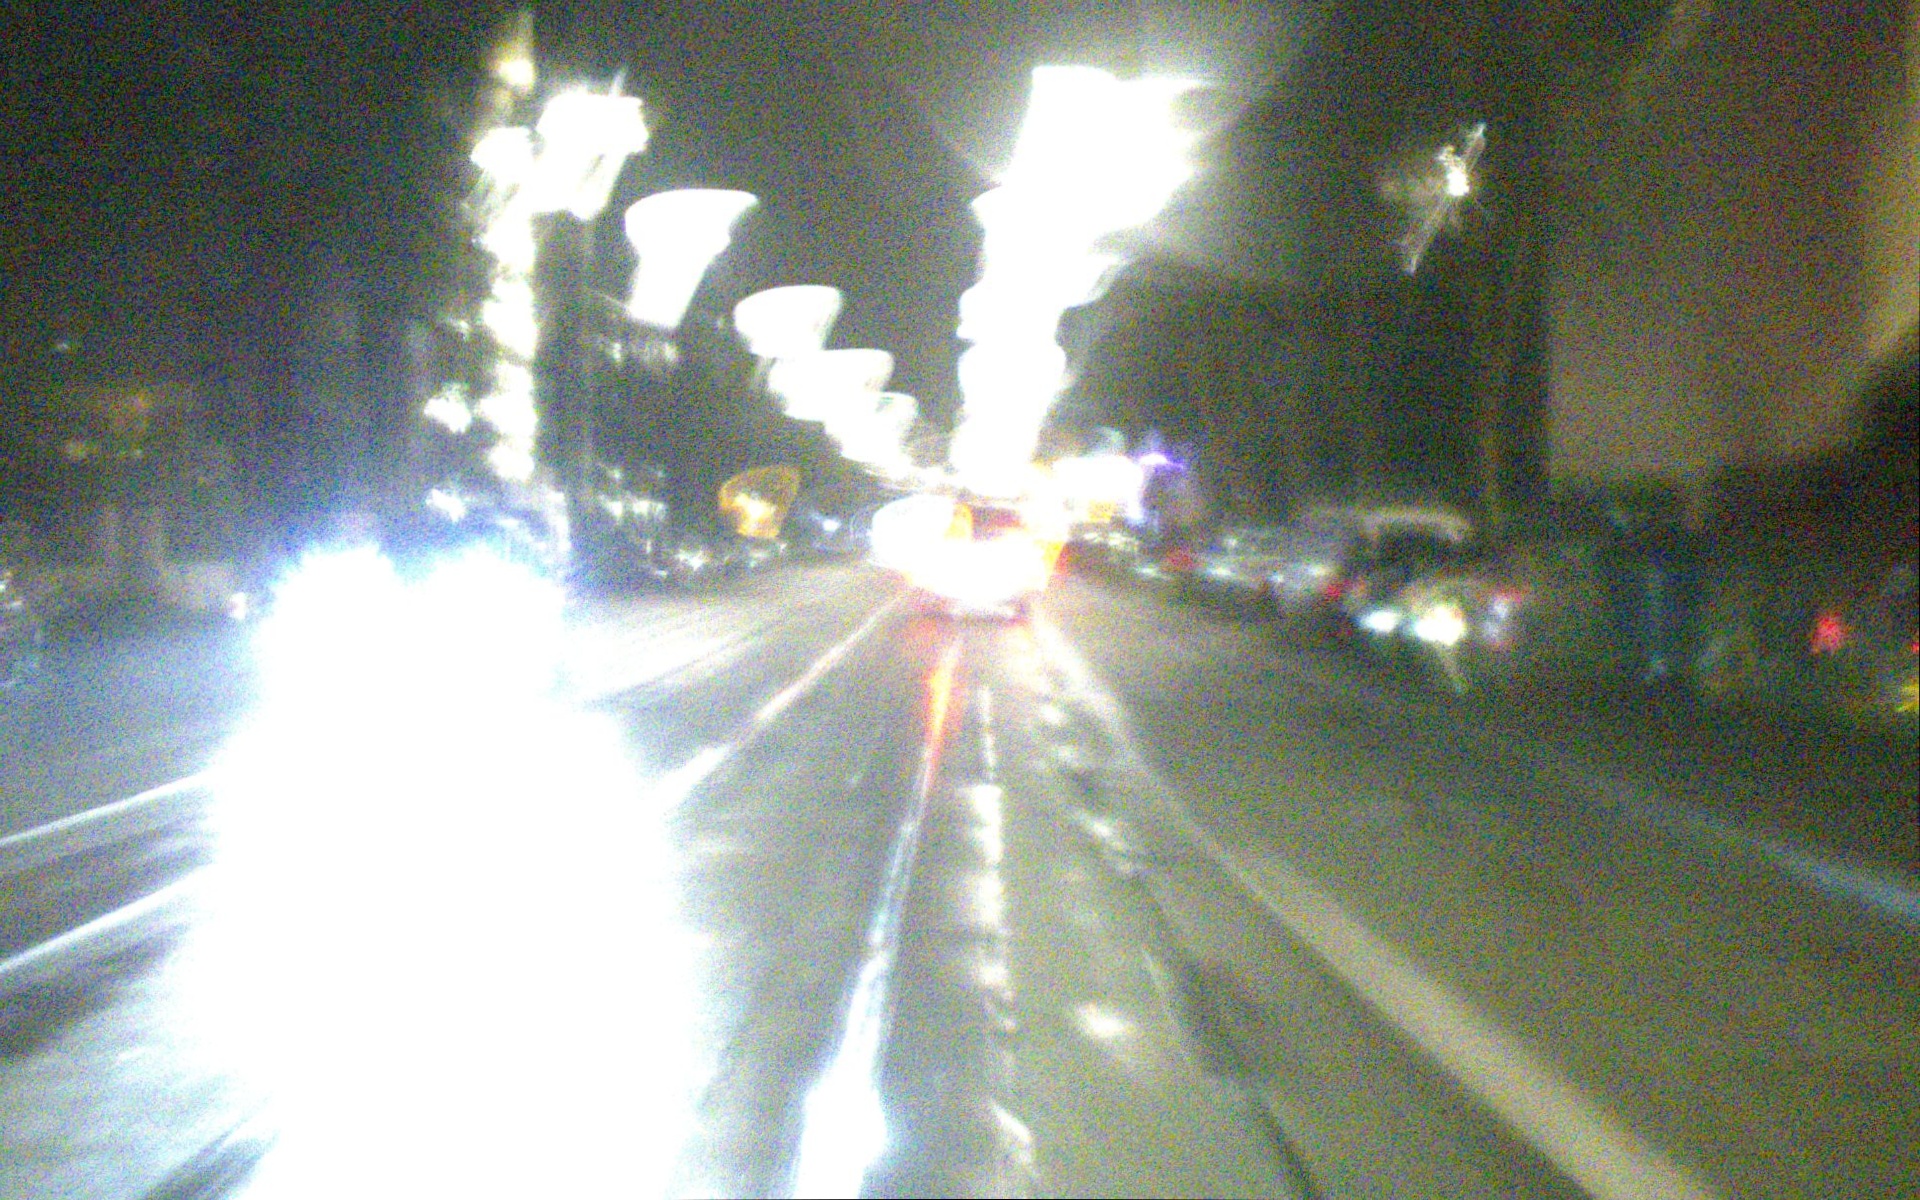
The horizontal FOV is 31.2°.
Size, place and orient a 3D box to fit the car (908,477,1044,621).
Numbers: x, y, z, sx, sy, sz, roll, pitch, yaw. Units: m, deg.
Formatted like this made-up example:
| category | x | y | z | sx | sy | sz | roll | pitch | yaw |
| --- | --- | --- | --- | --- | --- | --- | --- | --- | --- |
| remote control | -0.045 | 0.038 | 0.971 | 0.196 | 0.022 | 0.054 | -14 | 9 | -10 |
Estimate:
| category | x | y | z | sx | sy | sz | roll | pitch | yaw |
| --- | --- | --- | --- | --- | --- | --- | --- | --- | --- |
| car | 0.230 | -0.919 | 61.753 | 2.216 | 2.433 | 5.385 | 1 | 1 | -2 |

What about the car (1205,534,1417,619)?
| category | x | y | z | sx | sy | sz | roll | pitch | yaw |
| --- | --- | --- | --- | --- | --- | --- | --- | --- | --- |
| car | 6.484 | -0.429 | 63.312 | 1.820 | 1.428 | 3.845 | 3 | 1 | 45 |

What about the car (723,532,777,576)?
| category | x | y | z | sx | sy | sz | roll | pitch | yaw |
| --- | --- | --- | --- | --- | --- | --- | --- | --- | --- |
| car | -8.922 | -1.947 | 146.418 | 2.022 | 1.755 | 4.000 | 3 | 0 | 0 |

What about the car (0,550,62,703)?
| category | x | y | z | sx | sy | sz | roll | pitch | yaw |
| --- | --- | --- | --- | --- | --- | --- | --- | --- | --- |
| car | -9.500 | 0.208 | 30.968 | 1.668 | 1.382 | 4.001 | 3 | 0 | 1 |

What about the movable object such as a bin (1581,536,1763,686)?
| category | x | y | z | sx | sy | sz | roll | pitch | yaw |
| --- | --- | --- | --- | --- | --- | --- | --- | --- | --- |
| movable object such as a bin | 6.785 | 0.091 | 32.793 | 1.347 | 1.402 | 1.027 | 0 | 1 | -19 |

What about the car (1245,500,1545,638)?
| category | x | y | z | sx | sy | sz | roll | pitch | yaw |
| --- | --- | --- | --- | --- | --- | --- | --- | --- | --- |
| car | 6.344 | -0.436 | 49.914 | 4.162 | 1.833 | 1.962 | 1 | 2 | -41 |

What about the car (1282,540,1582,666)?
| category | x | y | z | sx | sy | sz | roll | pitch | yaw |
| --- | --- | --- | --- | --- | --- | --- | --- | --- | --- |
| car | 5.850 | 0.047 | 42.356 | 3.825 | 1.433 | 1.599 | 1 | 1 | -44 |

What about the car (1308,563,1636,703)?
| category | x | y | z | sx | sy | sz | roll | pitch | yaw |
| --- | --- | --- | --- | --- | --- | --- | --- | --- | --- |
| car | 5.834 | 0.338 | 38.911 | 1.806 | 1.483 | 3.846 | 1 | 1 | 43 |

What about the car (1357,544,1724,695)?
| category | x | y | z | sx | sy | sz | roll | pitch | yaw |
| --- | --- | --- | --- | --- | --- | --- | --- | --- | --- |
| car | 6.107 | 0.215 | 35.994 | 3.779 | 1.453 | 1.769 | 1 | 1 | -42 |

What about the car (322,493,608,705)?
| category | x | y | z | sx | sy | sz | roll | pitch | yaw |
| --- | --- | --- | --- | --- | --- | --- | --- | --- | --- |
| car | -4.556 | -0.062 | 32.273 | 1.938 | 1.809 | 4.385 | -1 | 1 | 1 |

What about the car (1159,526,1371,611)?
| category | x | y | z | sx | sy | sz | roll | pitch | yaw |
| --- | --- | --- | --- | --- | --- | --- | --- | --- | --- |
| car | 5.872 | -0.593 | 65.955 | 3.878 | 1.528 | 1.821 | 1 | 2 | -41 |

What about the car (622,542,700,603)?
| category | x | y | z | sx | sy | sz | roll | pitch | yaw |
| --- | --- | --- | --- | --- | --- | --- | --- | --- | --- |
| car | -9.261 | -0.850 | 106.877 | 2.108 | 1.758 | 4.966 | 3 | 0 | -2 |

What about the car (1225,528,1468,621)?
| category | x | y | z | sx | sy | sz | roll | pitch | yaw |
| --- | --- | --- | --- | --- | --- | --- | --- | --- | --- |
| car | 6.387 | -0.447 | 56.469 | 1.691 | 1.399 | 4.447 | 2 | 3 | 42 |

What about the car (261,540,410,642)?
| category | x | y | z | sx | sy | sz | roll | pitch | yaw |
| --- | --- | --- | --- | --- | --- | --- | --- | --- | --- |
| car | -9.372 | -0.150 | 51.846 | 1.609 | 1.423 | 3.809 | 2 | 1 | -2 |

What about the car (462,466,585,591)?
| category | x | y | z | sx | sy | sz | roll | pitch | yaw |
| --- | --- | --- | --- | --- | --- | --- | --- | --- | --- |
| car | -9.283 | -1.536 | 73.486 | 2.024 | 2.490 | 5.608 | 3 | 1 | -2 |

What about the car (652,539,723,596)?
| category | x | y | z | sx | sy | sz | roll | pitch | yaw |
| --- | --- | --- | --- | --- | --- | --- | --- | --- | --- |
| car | -9.106 | -1.072 | 115.300 | 1.999 | 1.779 | 4.000 | 3 | 0 | 0 |
